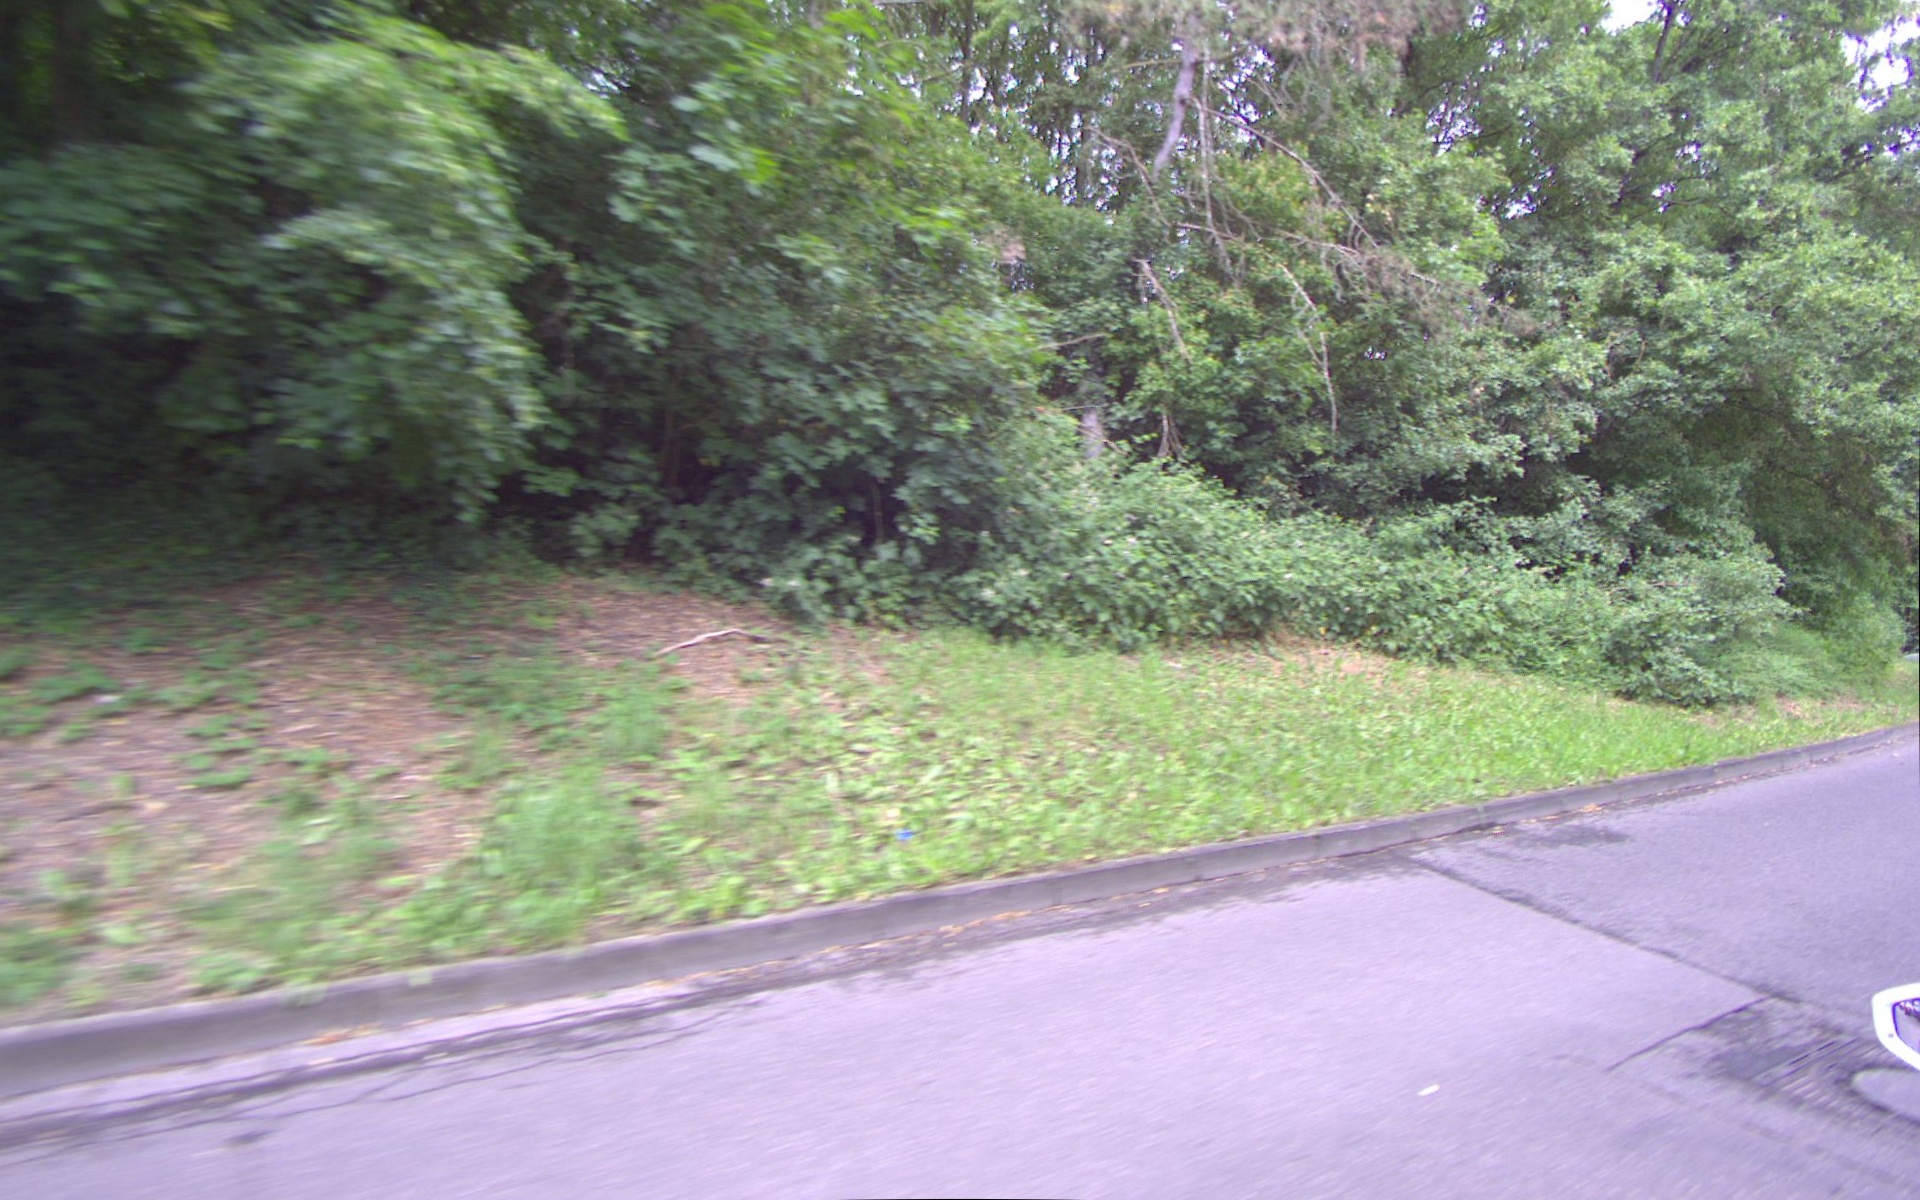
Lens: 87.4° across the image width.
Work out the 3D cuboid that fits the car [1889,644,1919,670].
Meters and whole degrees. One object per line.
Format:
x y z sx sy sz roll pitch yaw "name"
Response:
61.413 3.674 63.966 1.961 1.492 3.998 4 1 22 "car"
